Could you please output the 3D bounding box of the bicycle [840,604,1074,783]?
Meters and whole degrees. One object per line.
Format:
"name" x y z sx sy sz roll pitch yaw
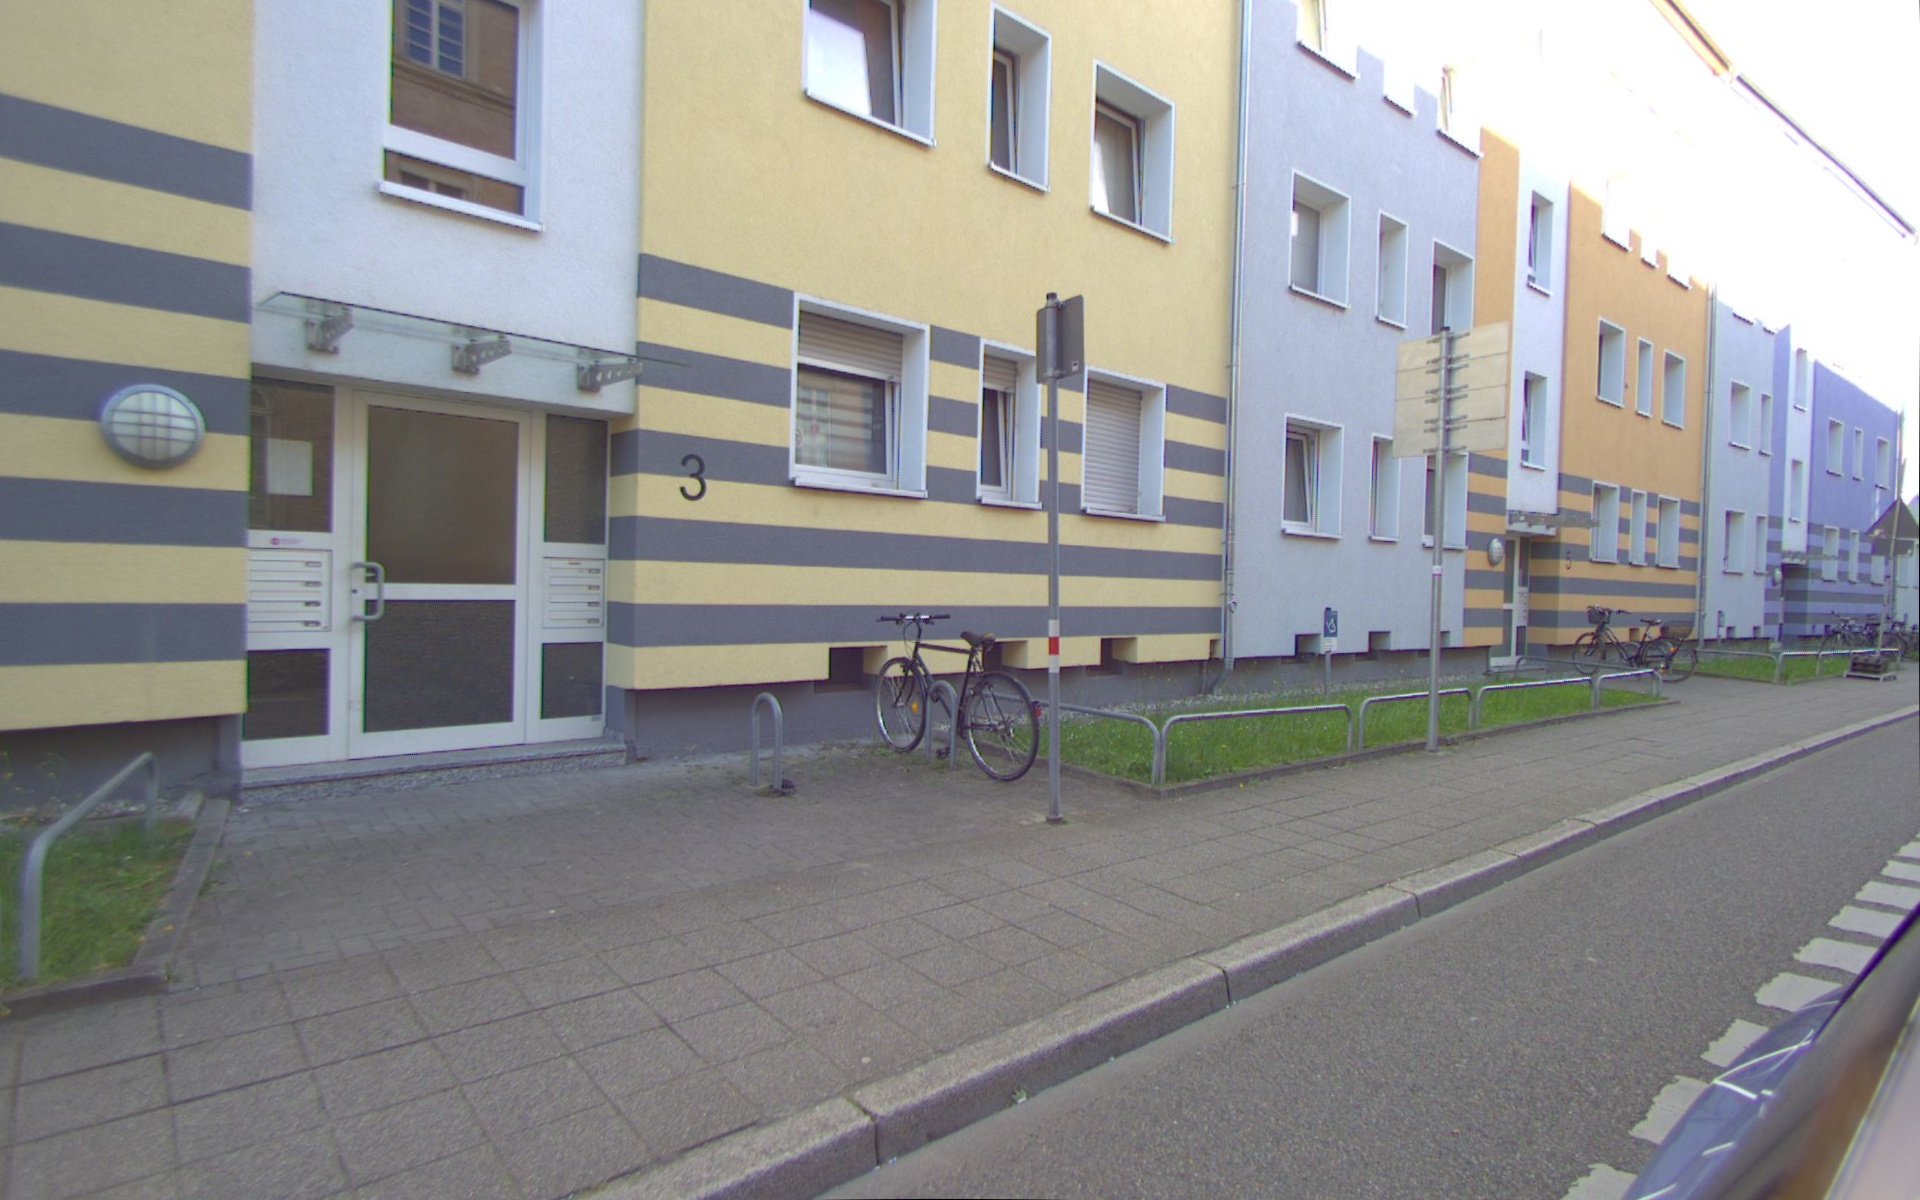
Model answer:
"bicycle" -0.074 0.581 7.017 1.775 1.031 0.476 3 1 44

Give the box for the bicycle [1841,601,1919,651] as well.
"bicycle" 23.307 0.641 25.421 0.475 1.166 1.678 1 1 -37

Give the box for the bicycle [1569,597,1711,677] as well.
"bicycle" 10.687 0.557 15.946 1.775 1.137 0.476 3 1 44

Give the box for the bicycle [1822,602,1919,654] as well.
"bicycle" 22.226 0.658 24.729 0.475 1.166 1.678 1 1 -37

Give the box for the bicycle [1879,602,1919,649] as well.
"bicycle" 24.135 0.653 25.278 0.475 1.166 1.678 1 1 -37
